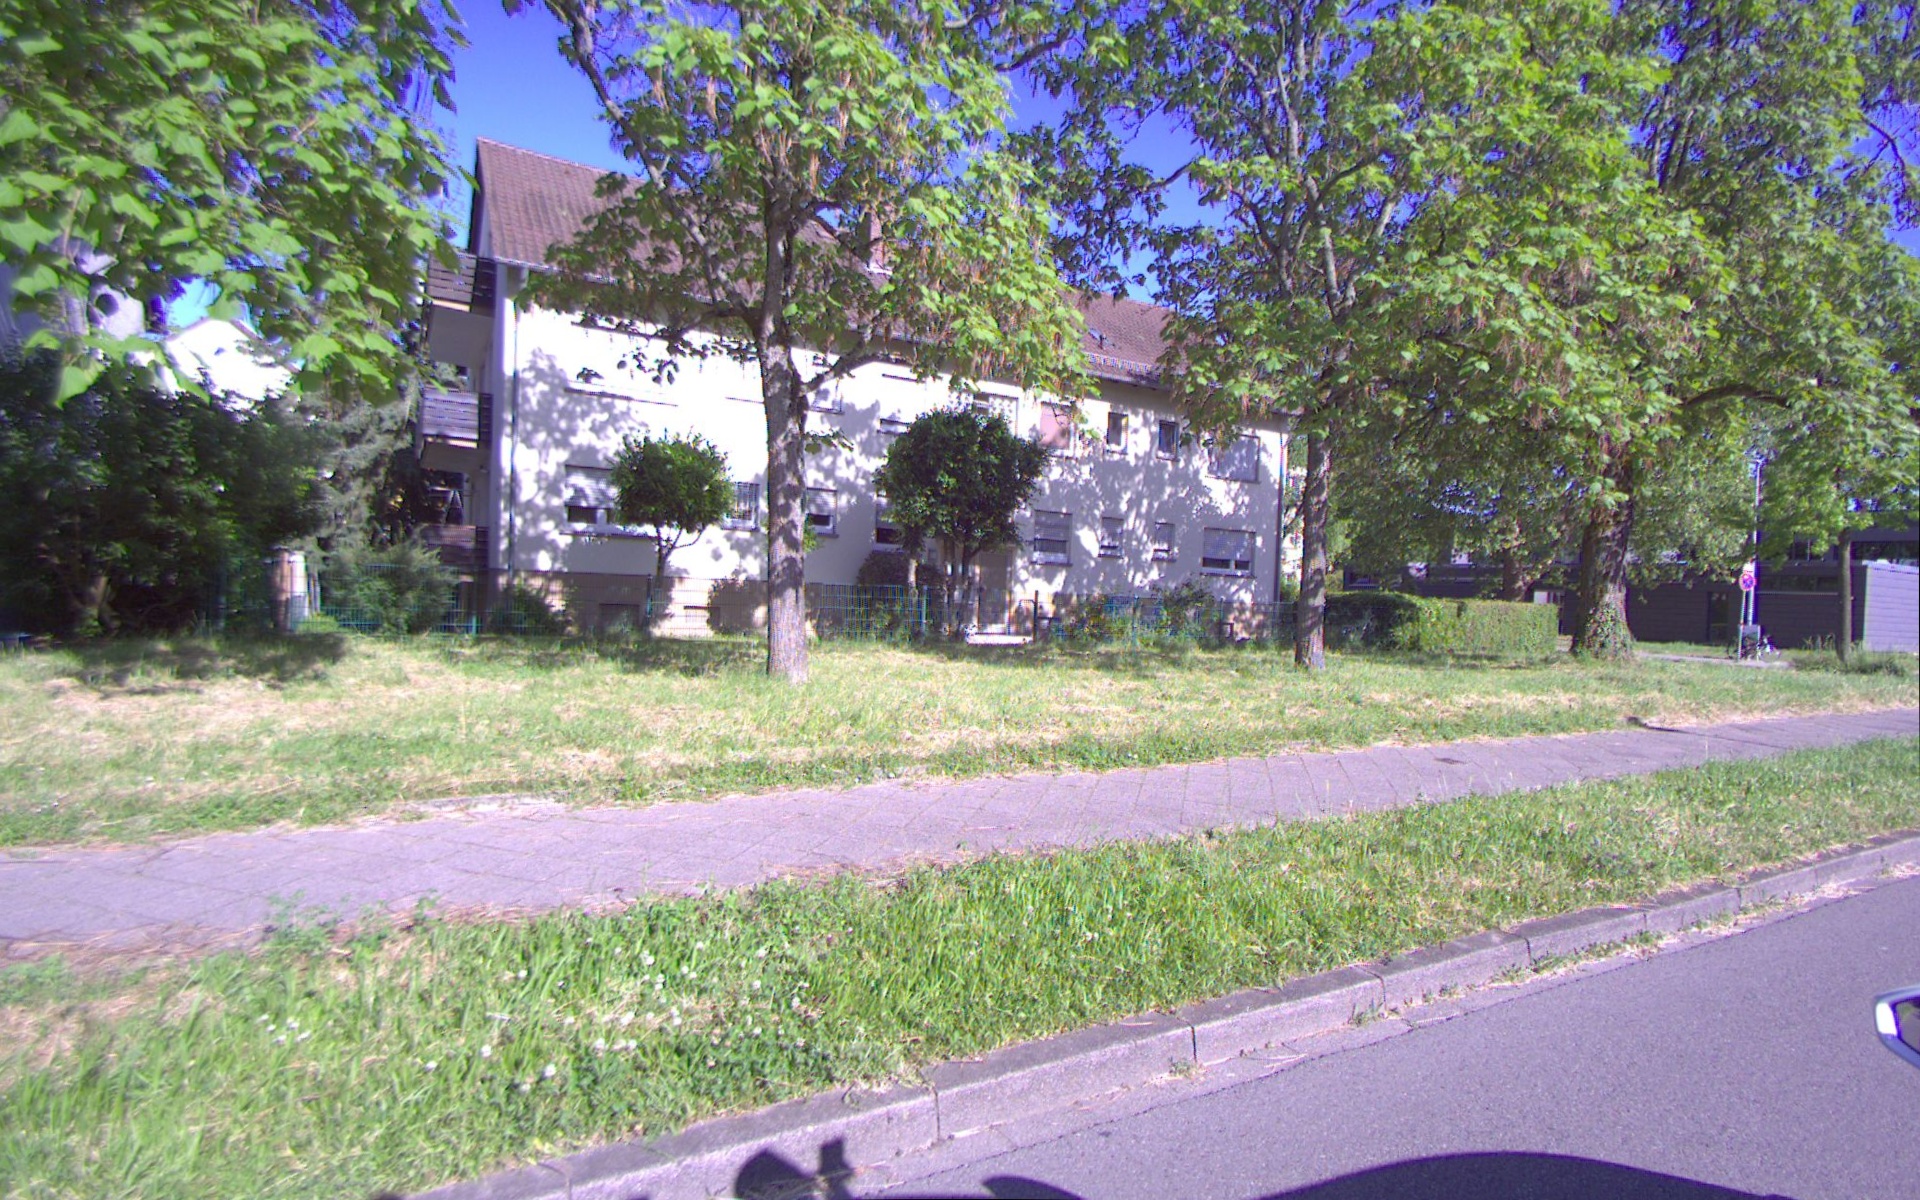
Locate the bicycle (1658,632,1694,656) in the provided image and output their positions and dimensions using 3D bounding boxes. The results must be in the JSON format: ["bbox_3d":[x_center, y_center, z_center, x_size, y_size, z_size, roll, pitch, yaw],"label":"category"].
[{"bbox_3d":[27.216,1.671,38.175,0.999,0.899,0.440,1,0,16],"label":"bicycle"}]
